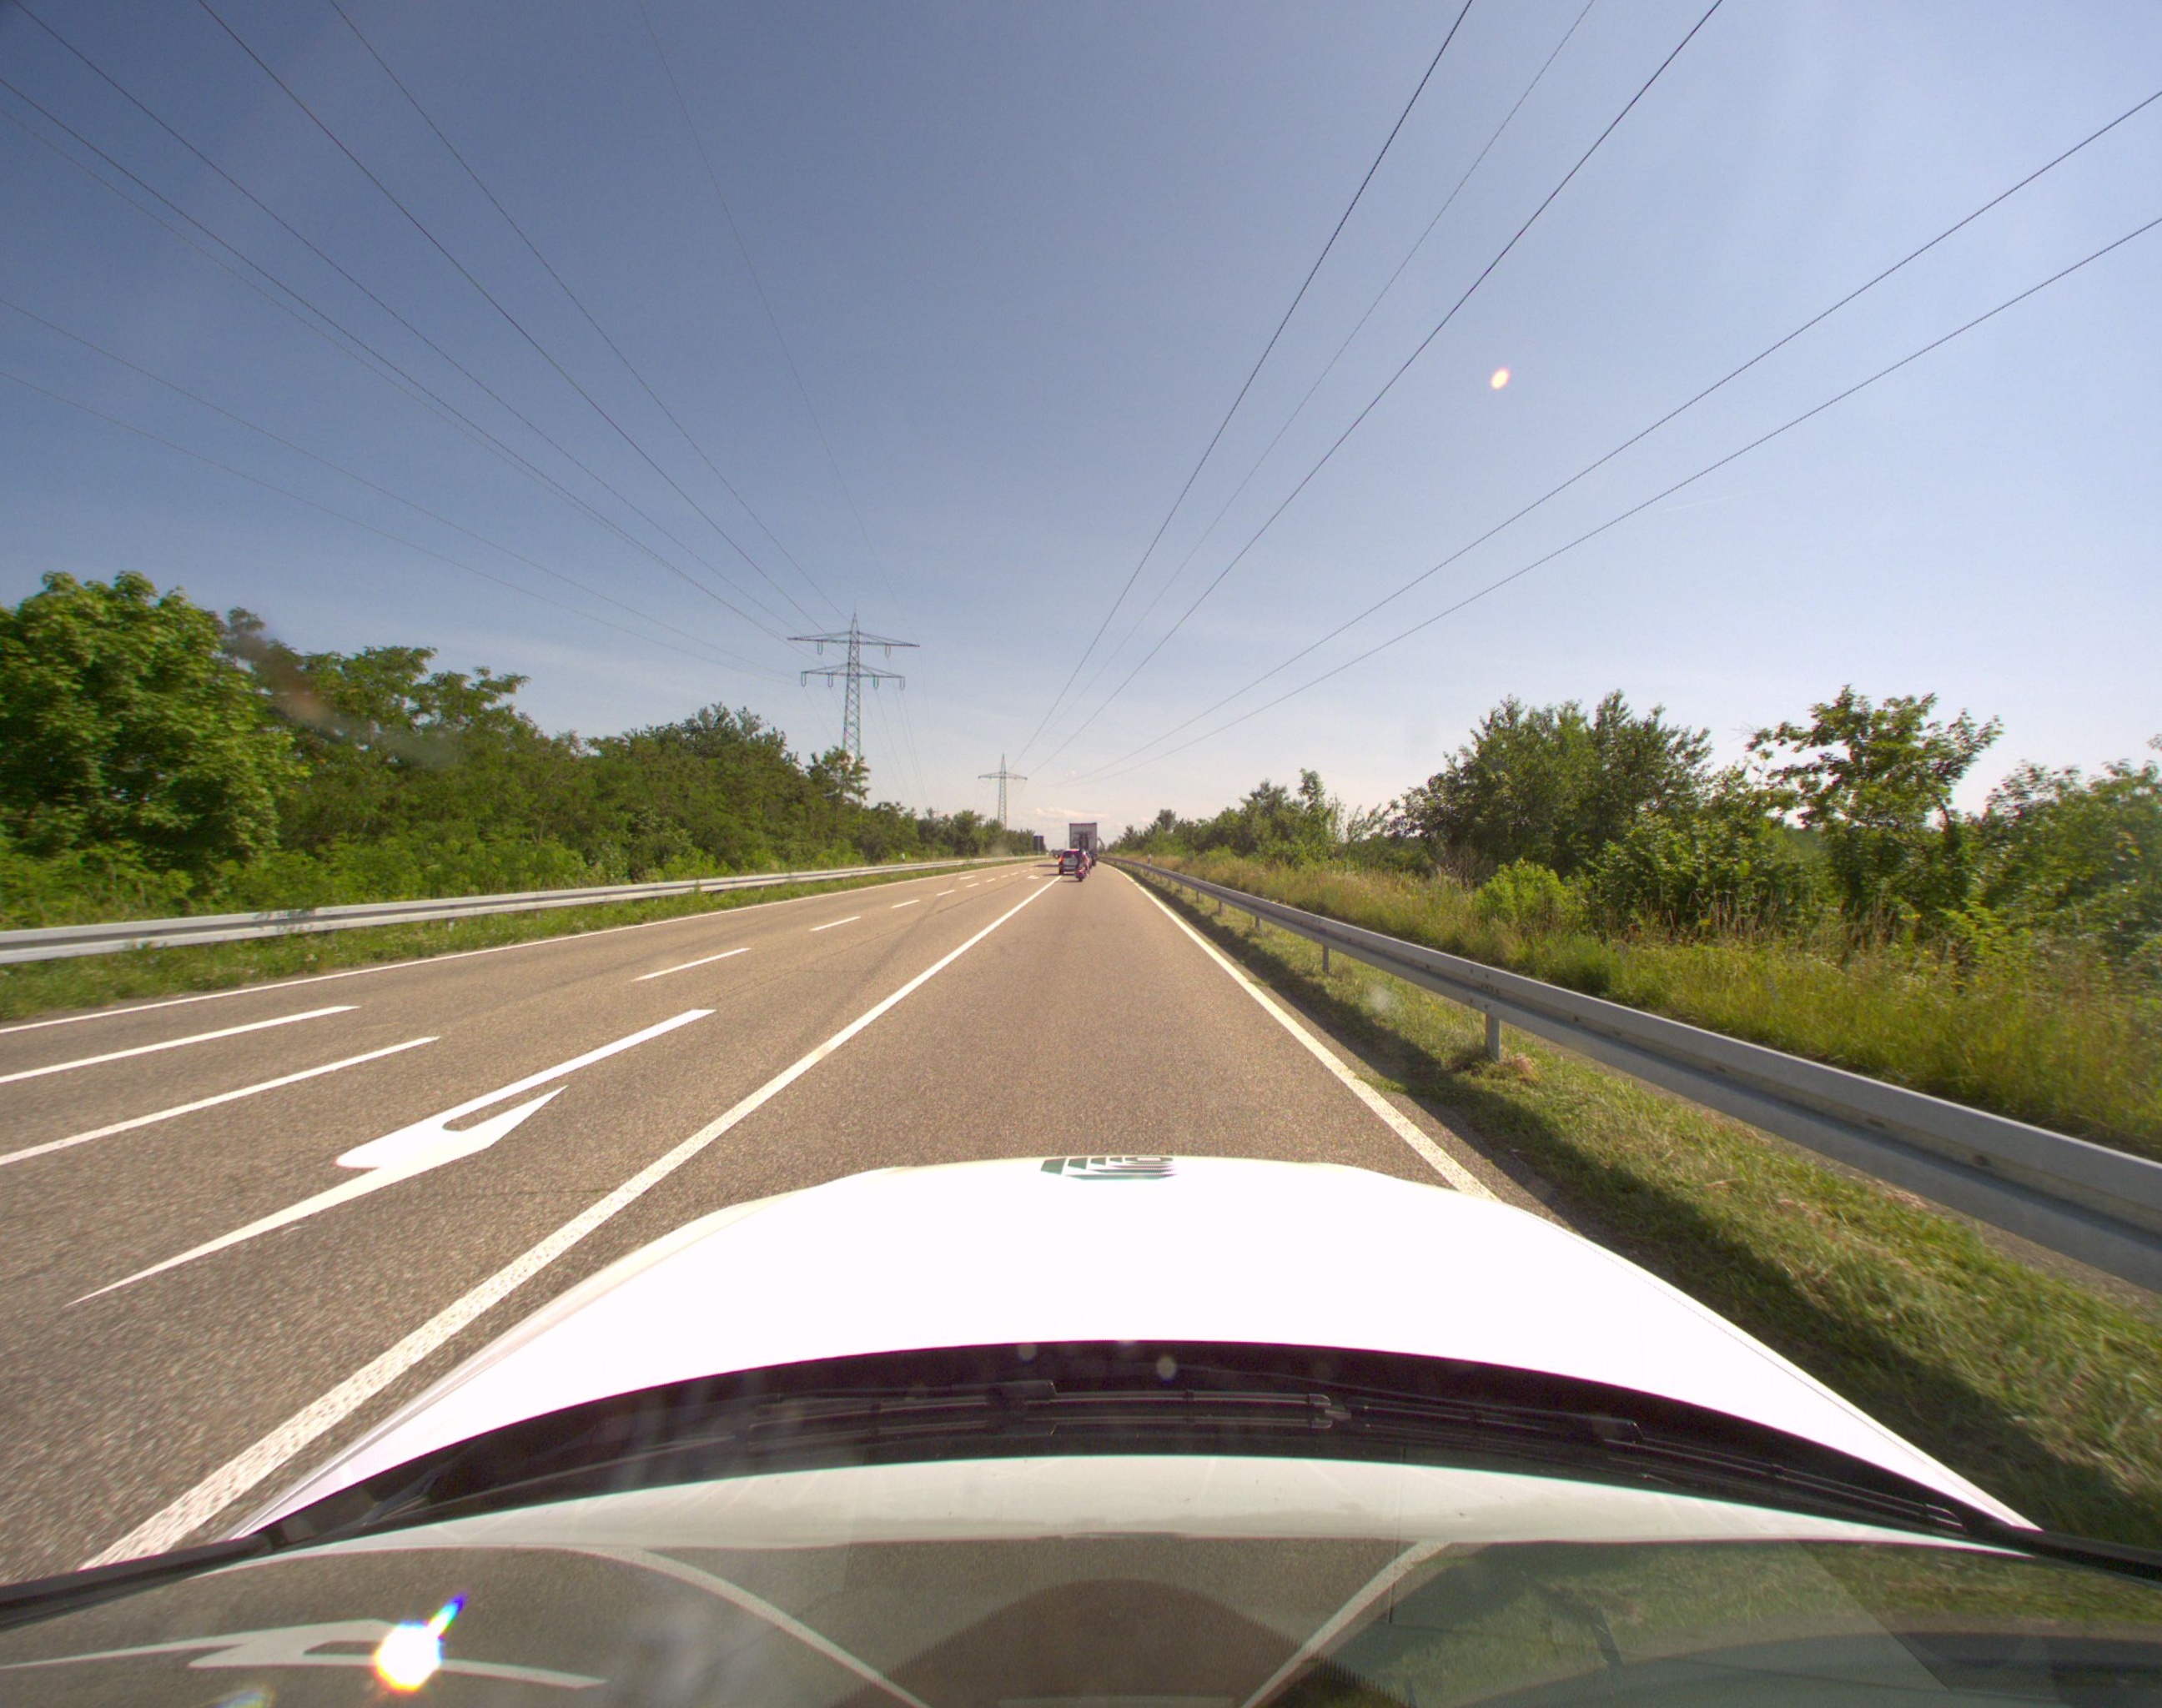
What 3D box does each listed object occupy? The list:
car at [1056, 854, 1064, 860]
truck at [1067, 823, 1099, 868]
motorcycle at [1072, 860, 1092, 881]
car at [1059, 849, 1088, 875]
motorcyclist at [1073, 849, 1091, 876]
[{"bbox_3d":[-4.733,0.666,185.267,1.722,1.491,4.421,0,0,-1],"label":"car"},{"bbox_3d":[0.295,-0.807,82.353,2.957,4.187,14.823,0,0,1],"label":"truck"},{"bbox_3d":[0.037,0.777,38.860,0.856,0.915,2.226,0,0,-2],"label":"motorcycle"},{"bbox_3d":[-0.412,0.449,49.159,1.695,1.536,3.498,0,0,0],"label":"car"},{"bbox_3d":[0.039,0.406,38.917,0.835,1.280,0.918,0,0,-3],"label":"motorcyclist"}]
